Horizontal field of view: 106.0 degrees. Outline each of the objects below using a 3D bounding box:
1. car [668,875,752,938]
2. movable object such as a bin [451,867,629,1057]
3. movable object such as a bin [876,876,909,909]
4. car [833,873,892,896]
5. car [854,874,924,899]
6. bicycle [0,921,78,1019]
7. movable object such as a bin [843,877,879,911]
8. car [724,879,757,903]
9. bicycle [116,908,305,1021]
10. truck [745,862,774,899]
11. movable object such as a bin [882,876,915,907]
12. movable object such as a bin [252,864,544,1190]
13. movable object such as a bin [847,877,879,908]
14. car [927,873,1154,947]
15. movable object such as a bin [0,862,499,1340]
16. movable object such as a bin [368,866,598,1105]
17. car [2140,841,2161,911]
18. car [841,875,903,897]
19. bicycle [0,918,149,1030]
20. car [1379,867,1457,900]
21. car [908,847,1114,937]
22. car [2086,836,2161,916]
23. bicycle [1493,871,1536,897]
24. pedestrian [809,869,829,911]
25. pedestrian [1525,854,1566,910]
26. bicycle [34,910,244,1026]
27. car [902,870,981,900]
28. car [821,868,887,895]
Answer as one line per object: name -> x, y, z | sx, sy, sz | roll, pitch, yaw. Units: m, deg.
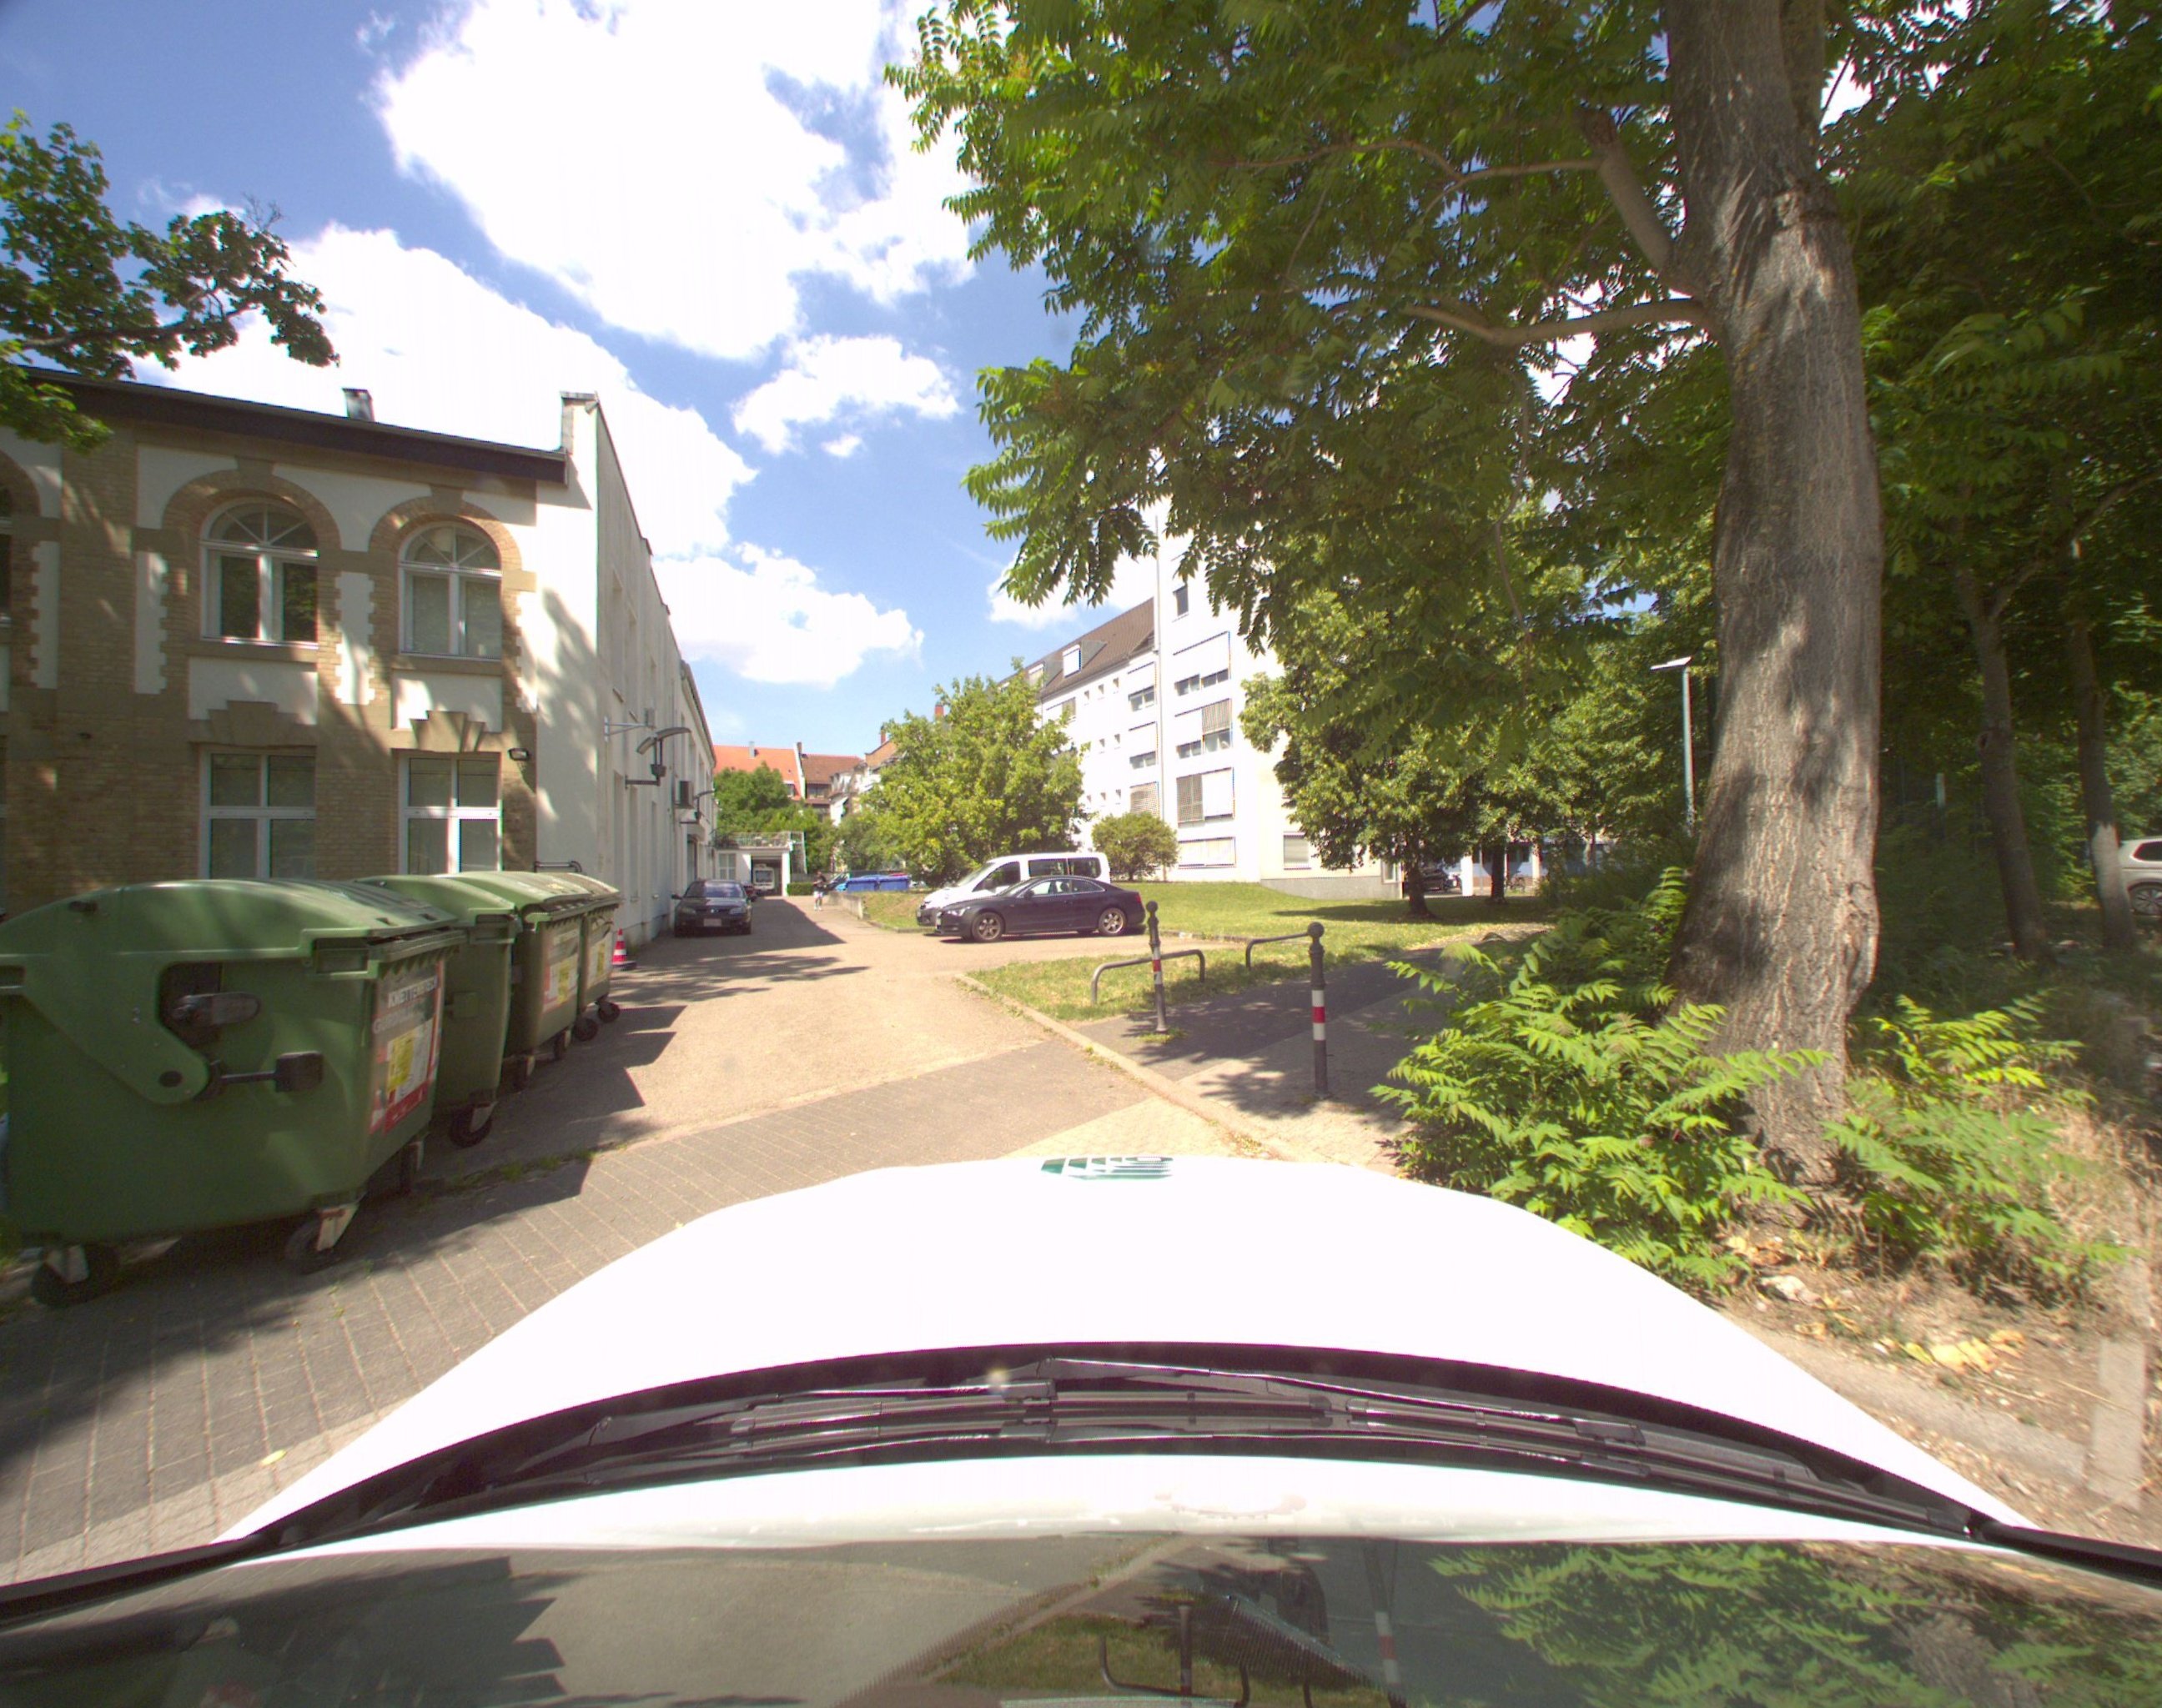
car -> -9.696, 1.286, 21.536 | 1.761, 1.430, 4.354 | -1, -1, -21
movable object such as a bin -> -4.766, 0.873, 7.311 | 1.048, 1.479, 1.399 | -1, -1, -22
movable object such as a bin -> -8.005, 1.626, 34.608 | 1.220, 1.327, 1.152 | -1, -1, -20
car -> -16.206, 2.252, 60.396 | 4.006, 1.534, 1.790 | -1, -1, -24
car -> -12.197, 2.037, 51.727 | 4.006, 1.478, 1.790 | -1, -1, -24
bicycle -> -12.265, 1.323, 8.979 | 0.608, 1.011, 2.240 | -1, -1, -26
movable object such as a bin -> -9.196, 1.658, 34.082 | 1.343, 1.327, 1.152 | -1, -1, -20
car -> -21.282, 2.263, 50.847 | 1.806, 1.390, 3.969 | -1, -1, -23
bicycle -> -10.403, 1.261, 9.859 | 0.607, 1.082, 2.244 | -1, -1, -20
truck -> -27.192, 2.222, 68.847 | 1.798, 2.937, 4.611 | 0, -2, -27
movable object such as a bin -> -8.161, 1.644, 36.319 | 1.222, 1.327, 1.151 | -1, -1, -24
movable object such as a bin -> -3.738, 0.821, 4.642 | 1.100, 1.479, 1.346 | -1, -1, -33
movable object such as a bin -> -9.580, 1.682, 35.787 | 1.198, 1.327, 1.151 | -1, -1, -24
car -> -0.874, 1.143, 17.831 | 4.631, 1.352, 1.820 | -1, -1, -23
movable object such as a bin -> -3.298, 0.797, 3.368 | 1.210, 1.479, 1.314 | -1, -1, -25
movable object such as a bin -> -4.241, 0.846, 5.925 | 1.048, 1.479, 1.252 | -1, -1, -22
car -> 25.424, 0.437, 16.527 | 1.727, 1.531, 4.486 | -1, -1, -23
car -> -14.846, 2.264, 57.758 | 4.006, 1.390, 1.790 | -1, -1, -24
bicycle -> -11.654, 1.307, 9.226 | 0.608, 1.011, 2.240 | -1, -1, -26
car -> 17.703, 1.513, 42.796 | 3.632, 1.621, 1.661 | -1, -1, -22
car -> -1.753, 0.895, 20.437 | 4.779, 2.014, 1.985 | -1, -2, -23
car -> 23.078, 0.436, 15.564 | 2.001, 1.609, 4.487 | 2, -2, -22
bicycle -> 18.937, 1.301, 35.574 | 1.943, 1.084, 0.596 | -1, -1, -25
pedestrian -> -11.074, 1.504, 34.414 | 0.760, 1.755, 0.746 | -1, -1, -22
pedestrian -> 13.223, 0.783, 23.184 | 0.753, 1.564, 0.733 | 0, -1, -33
bicycle -> -11.011, 1.265, 9.649 | 0.607, 1.082, 2.244 | -1, -1, -20
car -> -7.657, 1.684, 44.705 | 4.006, 1.478, 1.790 | -1, -1, -24
car -> -17.585, 2.106, 63.095 | 4.700, 1.958, 2.060 | -1, -1, -24
